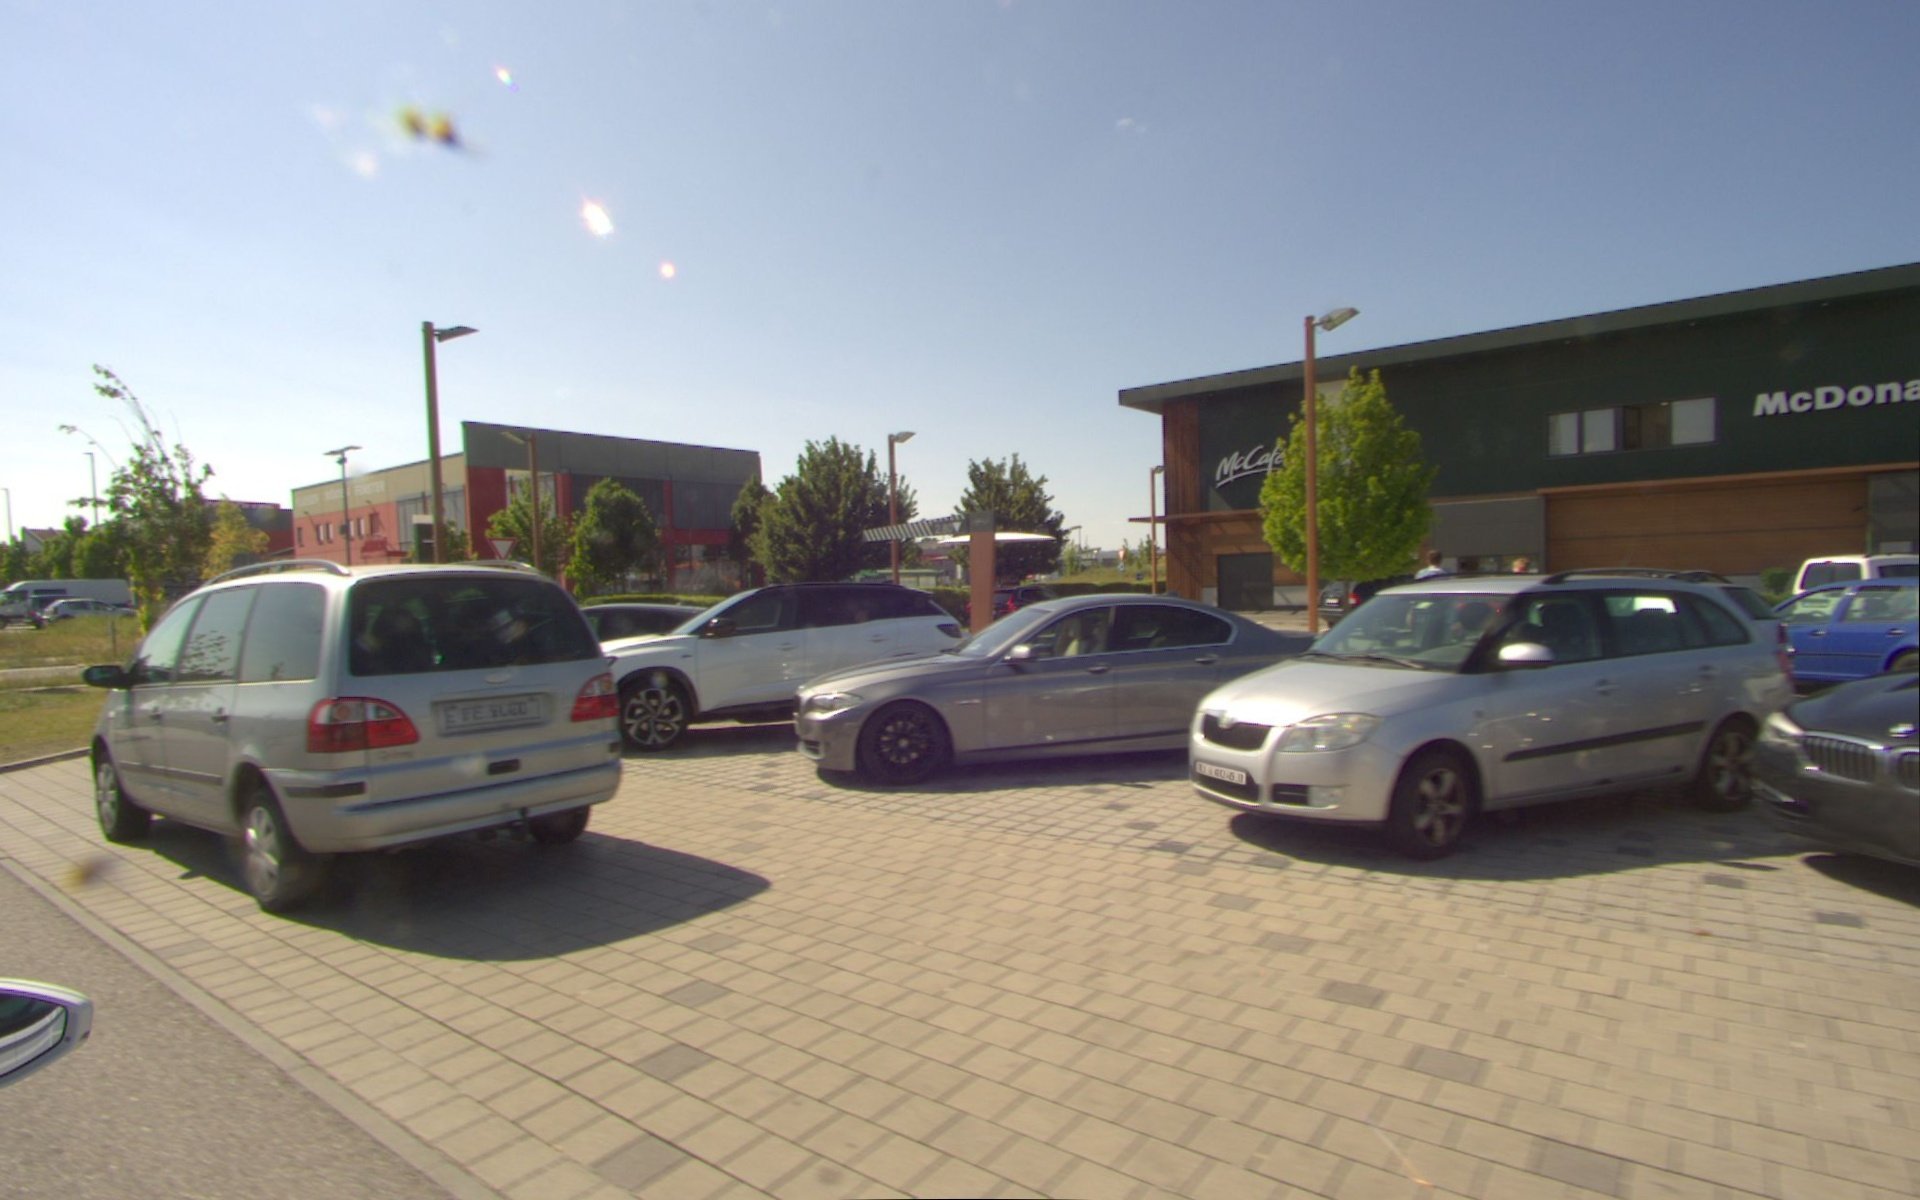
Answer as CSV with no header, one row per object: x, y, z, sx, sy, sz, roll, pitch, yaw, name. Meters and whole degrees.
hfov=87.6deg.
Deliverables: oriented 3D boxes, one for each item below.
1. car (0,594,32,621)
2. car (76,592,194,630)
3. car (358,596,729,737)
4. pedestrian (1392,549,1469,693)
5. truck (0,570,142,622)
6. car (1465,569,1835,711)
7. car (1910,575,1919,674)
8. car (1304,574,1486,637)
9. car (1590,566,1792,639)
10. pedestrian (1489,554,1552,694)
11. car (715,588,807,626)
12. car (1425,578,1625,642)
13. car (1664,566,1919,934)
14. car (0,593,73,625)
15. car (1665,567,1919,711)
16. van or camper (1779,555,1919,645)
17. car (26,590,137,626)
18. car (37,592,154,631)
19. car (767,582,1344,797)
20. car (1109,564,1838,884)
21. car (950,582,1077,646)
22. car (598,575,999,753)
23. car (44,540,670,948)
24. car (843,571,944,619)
-67.216,0.541,69.064,1.931,1.880,4.374,0,1,37,car
-42.788,0.534,52.029,1.931,1.880,4.374,0,1,37,car
-5.184,0.764,13.048,4.131,1.546,1.972,-1,1,-16,car
6.344,0.276,13.541,0.819,1.874,0.769,-1,1,15,pedestrian
-51.678,-0.255,57.495,1.930,2.852,7.009,0,1,37,truck
8.682,0.428,13.107,1.679,1.513,4.112,-2,1,-7,car
15.863,0.356,13.261,1.859,1.507,4.642,-2,1,-7,car
12.100,0.129,27.943,4.385,1.624,1.960,-1,1,-14,car
17.296,0.068,23.750,3.878,1.534,1.713,-2,-2,-13,car
7.325,0.306,13.097,0.459,1.792,0.552,-1,1,-15,pedestrian
-11.088,0.387,56.042,1.859,1.980,4.850,-1,0,43,car
14.471,0.237,25.699,4.387,1.485,1.959,-1,1,-16,car
6.206,0.571,4.691,4.692,1.506,1.974,-1,1,-8,car
-57.638,0.557,61.494,1.931,1.880,4.374,0,1,37,car
10.991,0.386,12.078,1.778,1.535,4.112,-2,1,-7,car
19.961,-0.036,21.351,3.952,1.799,1.710,-1,1,-10,van or camper
-49.249,0.439,56.231,1.931,1.880,4.374,0,1,37,car
-45.552,0.578,52.844,1.931,1.880,4.374,0,1,37,car
0.715,0.661,8.951,4.755,1.546,1.973,-1,1,-11,car
3.287,0.584,6.547,4.135,1.546,1.970,-1,1,-20,car
1.664,0.351,29.732,1.969,1.714,4.211,0,1,32,car
-1.849,0.600,11.294,4.136,1.677,1.969,-1,1,-21,car
-4.089,0.637,6.460,4.623,1.772,1.820,-1,1,37,car
-3.150,-0.260,48.196,1.975,2.226,5.069,0,1,38,car
